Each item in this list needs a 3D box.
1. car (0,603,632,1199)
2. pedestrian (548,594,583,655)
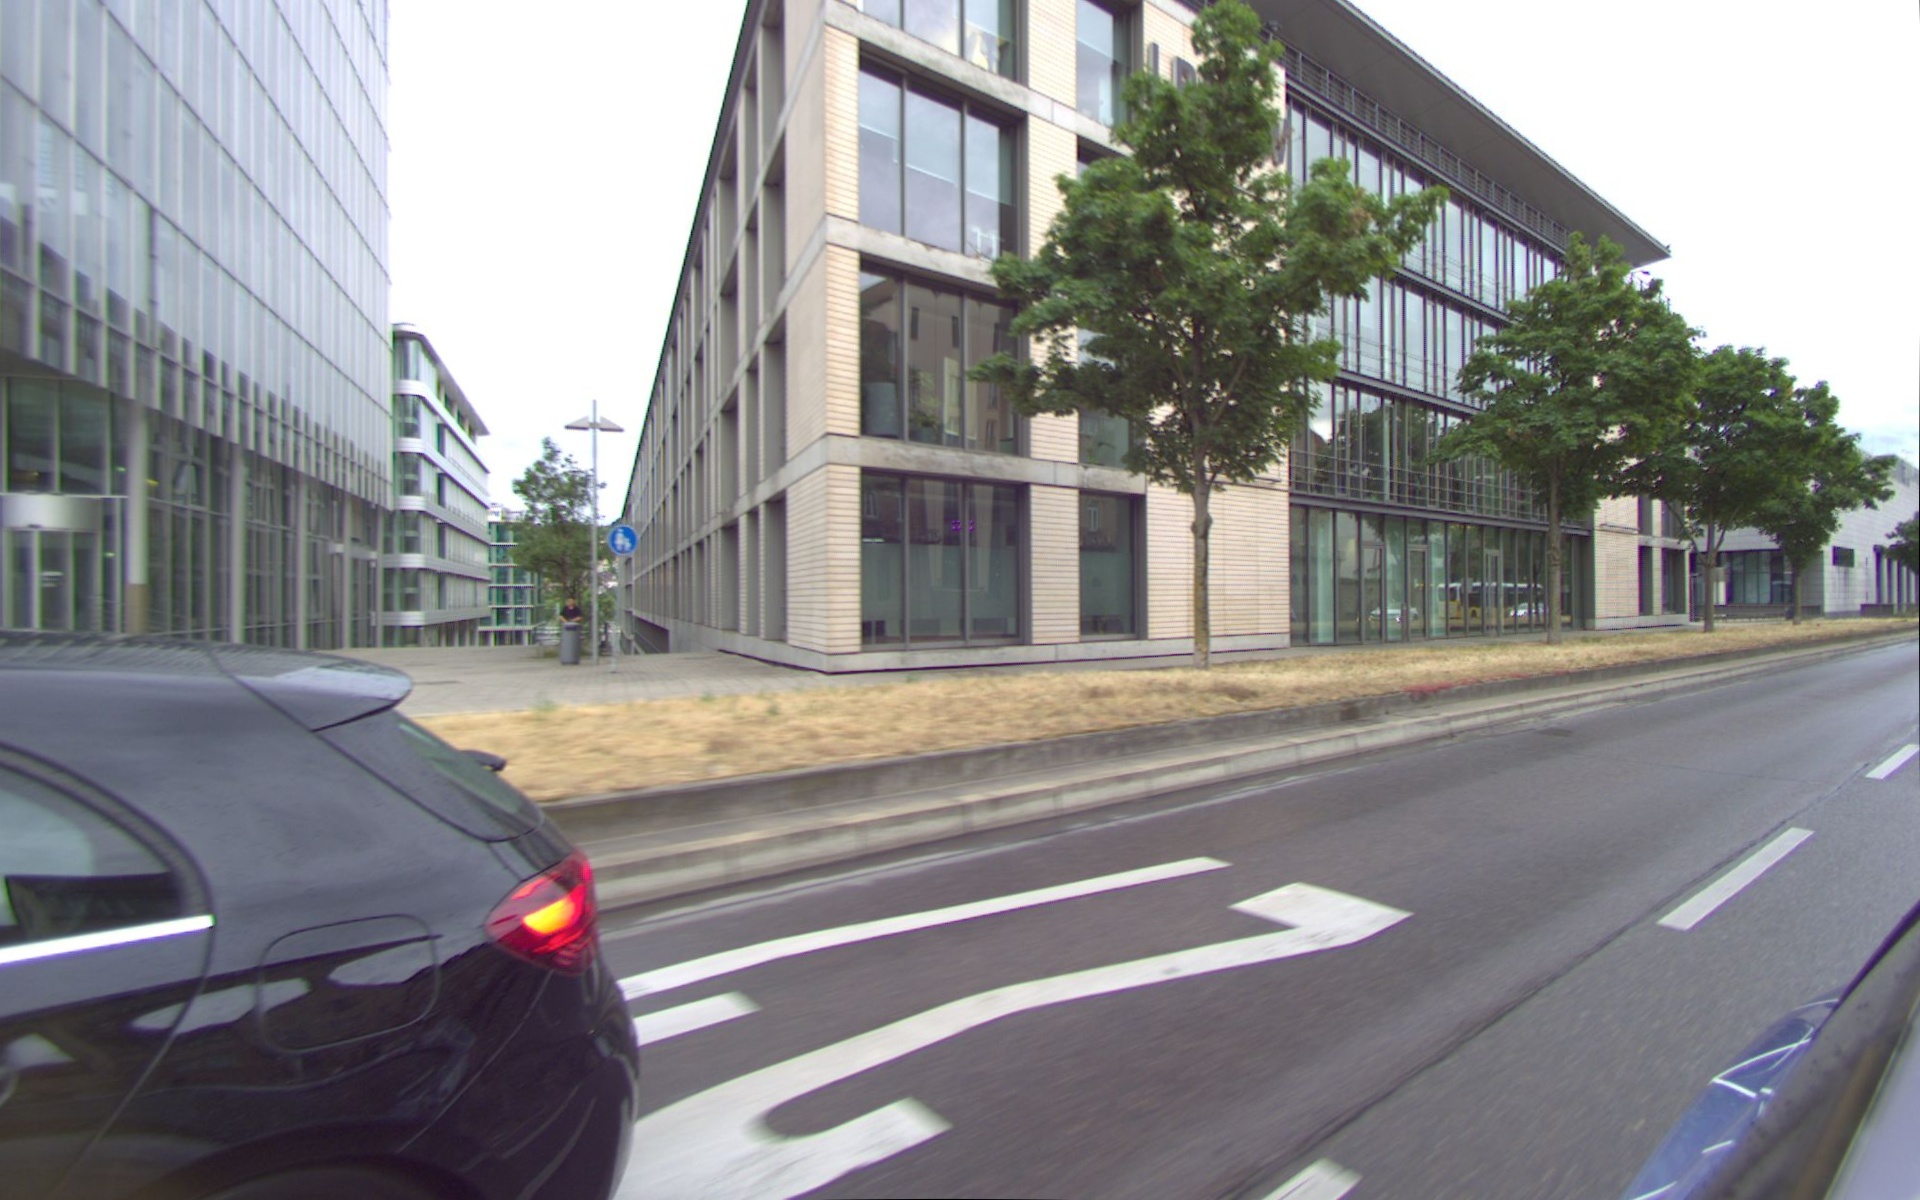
[{"bbox_3d":[-2.764,0.717,1.146,4.131,1.455,1.876,2,-1,-41],"label":"car"},{"bbox_3d":[-11.443,0.710,29.356,0.850,1.743,0.552,2,0,-17],"label":"pedestrian"}]
